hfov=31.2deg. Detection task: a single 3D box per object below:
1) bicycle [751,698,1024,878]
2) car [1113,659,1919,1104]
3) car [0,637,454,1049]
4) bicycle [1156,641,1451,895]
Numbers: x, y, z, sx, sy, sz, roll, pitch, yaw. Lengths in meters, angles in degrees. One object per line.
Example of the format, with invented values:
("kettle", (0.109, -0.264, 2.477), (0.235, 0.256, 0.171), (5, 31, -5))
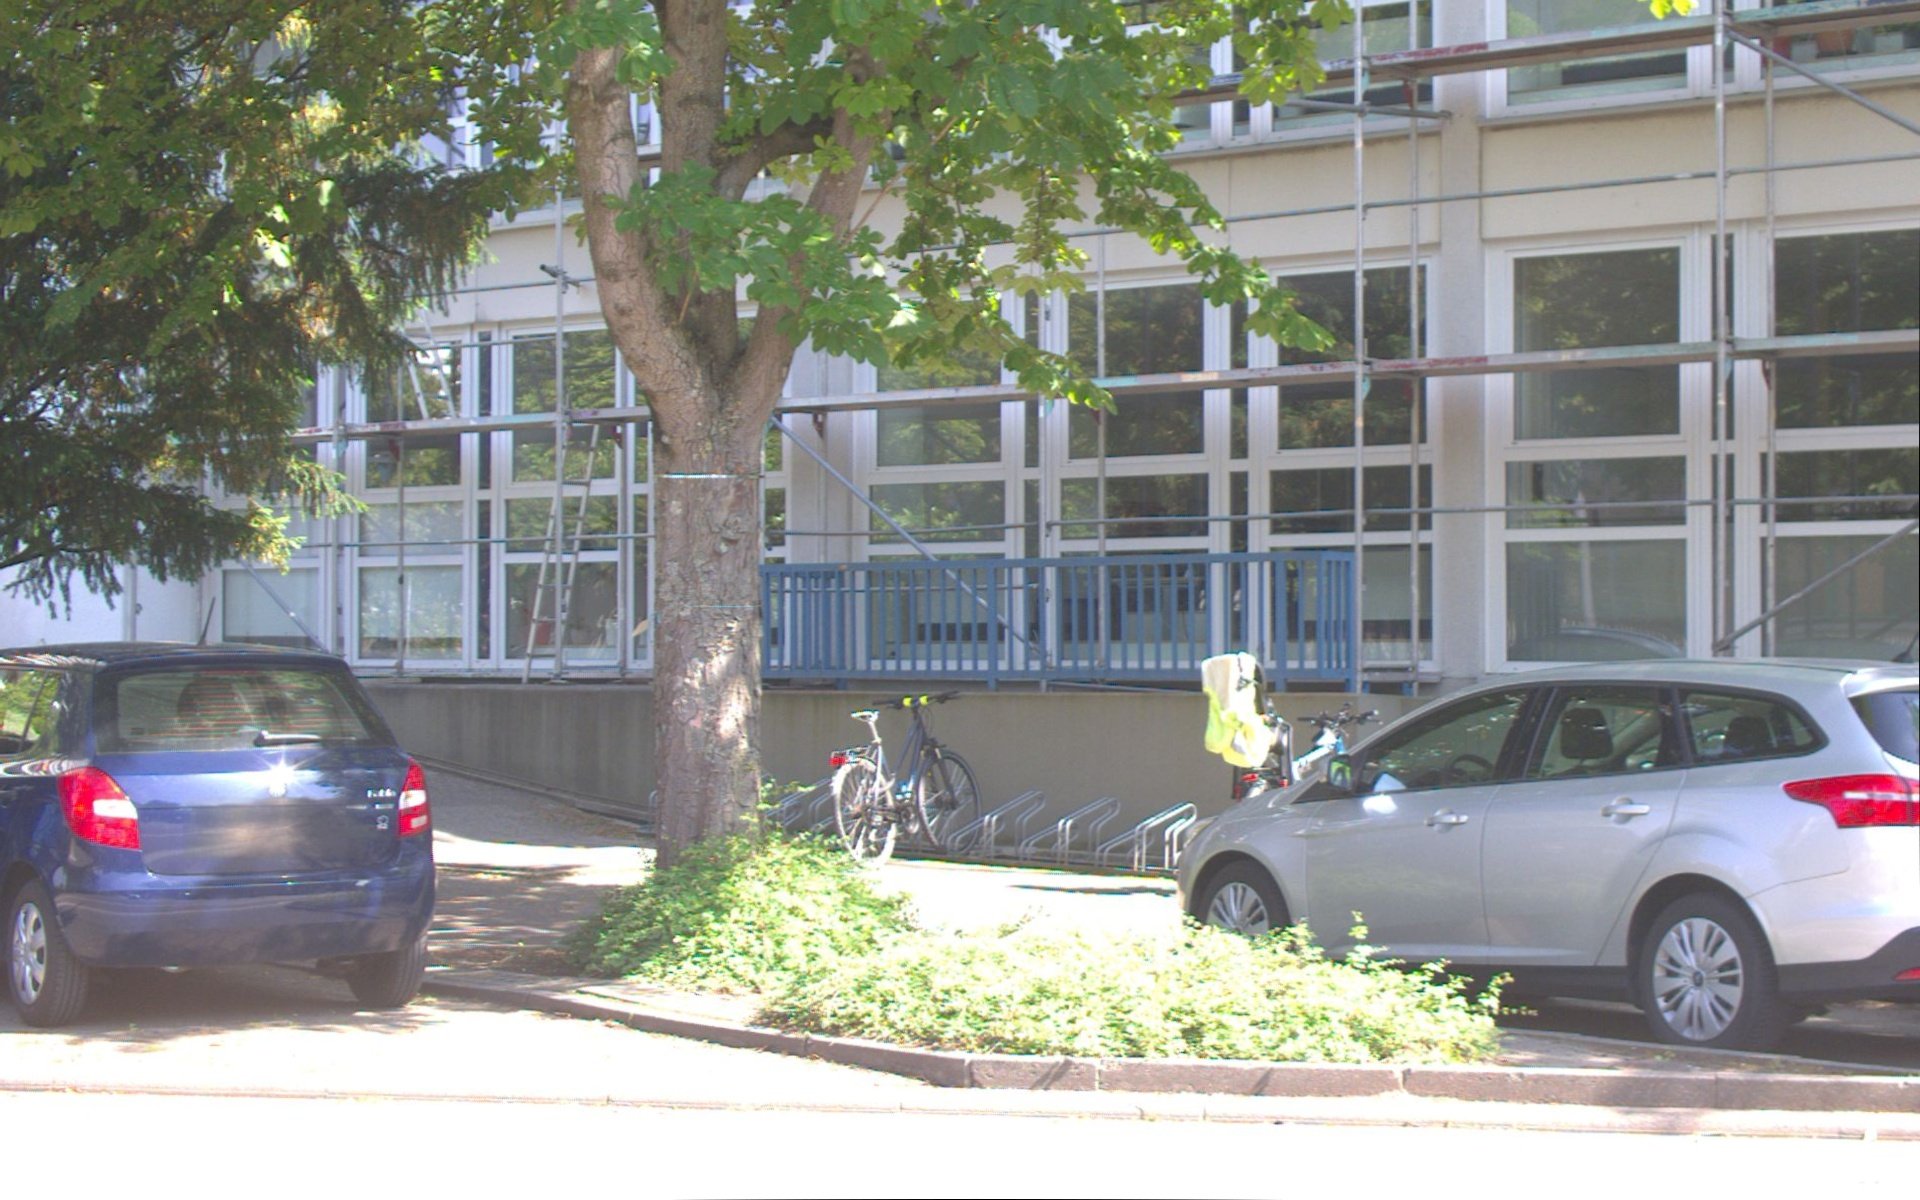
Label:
("bicycle", (-0.431, 1.174, 22.006), (0.742, 1.082, 2.199), (-1, -2, 29))
("car", (2.663, 0.987, 13.791), (1.779, 1.481, 4.435), (1, -2, -35))
("car", (-3.636, 0.939, 14.598), (1.571, 1.526, 3.457), (1, -2, -35))
("bicycle", (2.080, 0.981, 20.582), (0.663, 1.449, 2.085), (-1, -2, 42))
